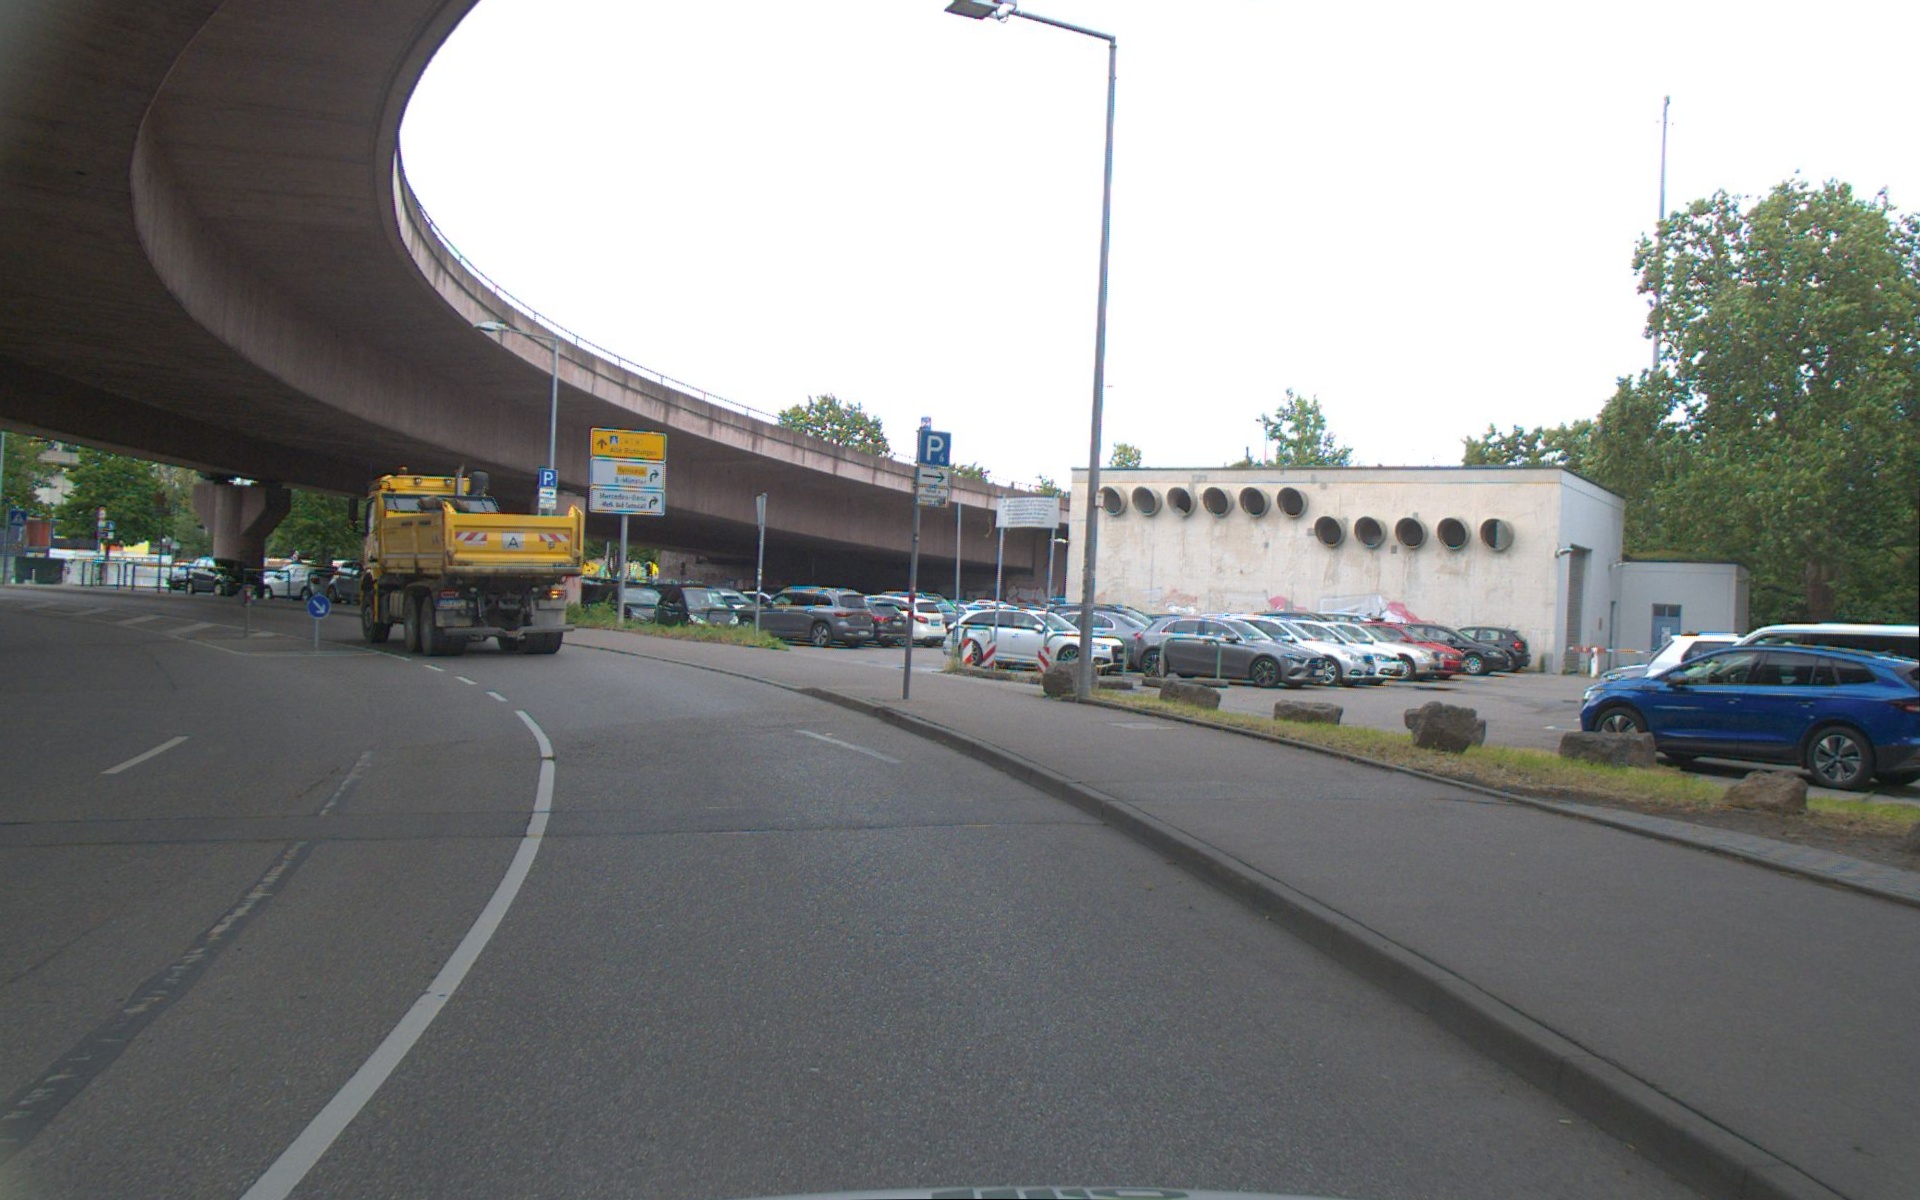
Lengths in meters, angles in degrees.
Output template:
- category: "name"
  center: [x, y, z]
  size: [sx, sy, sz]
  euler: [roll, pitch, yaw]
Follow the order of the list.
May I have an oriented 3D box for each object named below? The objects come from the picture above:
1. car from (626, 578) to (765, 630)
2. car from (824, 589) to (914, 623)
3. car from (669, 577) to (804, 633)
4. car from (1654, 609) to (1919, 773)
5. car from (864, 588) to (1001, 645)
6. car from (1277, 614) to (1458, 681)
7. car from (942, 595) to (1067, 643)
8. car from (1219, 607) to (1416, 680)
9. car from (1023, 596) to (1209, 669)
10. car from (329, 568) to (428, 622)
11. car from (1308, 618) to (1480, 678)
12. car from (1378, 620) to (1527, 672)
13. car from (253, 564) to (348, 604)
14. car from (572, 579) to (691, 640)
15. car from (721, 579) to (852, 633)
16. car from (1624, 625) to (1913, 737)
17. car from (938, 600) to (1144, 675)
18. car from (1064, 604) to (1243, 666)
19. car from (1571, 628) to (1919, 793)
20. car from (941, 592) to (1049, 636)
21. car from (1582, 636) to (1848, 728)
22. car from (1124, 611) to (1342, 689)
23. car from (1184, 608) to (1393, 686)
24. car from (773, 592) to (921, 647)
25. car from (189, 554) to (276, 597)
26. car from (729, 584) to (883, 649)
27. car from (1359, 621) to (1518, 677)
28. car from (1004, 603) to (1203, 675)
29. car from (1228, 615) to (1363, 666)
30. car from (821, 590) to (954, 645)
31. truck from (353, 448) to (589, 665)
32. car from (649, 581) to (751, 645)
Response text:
- category: "car"
  center: [-8.361, 0.112, 52.127]
  size: [4.103, 1.446, 1.834]
  euler: [3, 0, 32]
- category: "car"
  center: [-4.476, 0.295, 81.233]
  size: [4.103, 1.491, 1.834]
  euler: [3, 0, 32]
- category: "car"
  center: [-7.299, 0.153, 53.917]
  size: [4.103, 1.620, 1.834]
  euler: [3, 0, 32]
- category: "car"
  center: [12.218, 1.218, 22.684]
  size: [4.596, 1.991, 1.883]
  euler: [2, 1, 41]
- category: "car"
  center: [-0.944, 0.550, 55.658]
  size: [4.338, 1.720, 1.752]
  euler: [3, 0, 32]
- category: "car"
  center: [11.063, 1.270, 45.004]
  size: [4.410, 1.539, 1.833]
  euler: [3, 0, 35]
- category: "car"
  center: [1.577, 0.679, 59.513]
  size: [4.171, 1.535, 1.705]
  euler: [3, 0, 32]
- category: "car"
  center: [8.855, 1.063, 41.090]
  size: [4.410, 1.539, 1.833]
  euler: [3, 0, 35]
- category: "car"
  center: [4.108, 0.835, 43.824]
  size: [4.524, 1.656, 1.853]
  euler: [3, 0, 33]
- category: "car"
  center: [-19.096, -0.168, 54.301]
  size: [3.350, 1.560, 1.601]
  euler: [3, -2, 42]
- category: "car"
  center: [12.359, 1.350, 47.211]
  size: [4.352, 1.450, 1.833]
  euler: [3, 0, 35]
- category: "car"
  center: [16.248, 1.502, 54.678]
  size: [4.352, 1.450, 1.833]
  euler: [3, 0, 35]
- category: "car"
  center: [-28.393, -0.691, 71.162]
  size: [3.923, 1.579, 1.636]
  euler: [2, 0, 29]
- category: "car"
  center: [-9.129, 0.239, 45.736]
  size: [1.715, 1.505, 4.199]
  euler: [2, 0, -34]
- category: "car"
  center: [-5.865, 0.203, 55.842]
  size: [4.103, 1.620, 1.834]
  euler: [3, 0, 32]
- category: "car"
  center: [13.973, 1.343, 28.663]
  size: [4.271, 1.615, 1.770]
  euler: [2, 0, 34]
- category: "car"
  center: [1.885, 0.873, 39.336]
  size: [4.592, 1.501, 1.852]
  euler: [3, 0, 35]
- category: "car"
  center: [5.336, 0.947, 45.760]
  size: [4.524, 1.469, 1.853]
  euler: [3, 0, 33]
- category: "car"
  center: [10.218, 1.296, 20.621]
  size: [1.758, 1.663, 4.620]
  euler: [2, 1, -39]
- category: "car"
  center: [1.434, 0.572, 68.461]
  size: [4.103, 1.620, 1.834]
  euler: [3, 0, 32]
- category: "car"
  center: [14.156, 1.488, 31.112]
  size: [4.274, 1.408, 1.769]
  euler: [2, 0, 36]
- category: "car"
  center: [5.997, 1.068, 36.539]
  size: [4.352, 1.450, 1.833]
  euler: [3, 0, 35]
- category: "car"
  center: [7.660, 1.079, 38.713]
  size: [4.410, 1.539, 1.833]
  euler: [3, 0, 35]
- category: "car"
  center: [-3.518, 0.593, 51.391]
  size: [4.365, 1.474, 1.752]
  euler: [3, 0, 32]
- category: "car"
  center: [-27.121, -0.912, 61.624]
  size: [3.517, 1.421, 1.601]
  euler: [3, -2, 42]
- category: "car"
  center: [-4.595, 0.470, 49.141]
  size: [4.375, 1.704, 1.741]
  euler: [3, 0, 32]
- category: "car"
  center: [14.817, 1.488, 51.250]
  size: [4.352, 1.450, 1.833]
  euler: [3, 0, 35]
- category: "car"
  center: [3.557, 0.946, 41.321]
  size: [4.589, 1.501, 1.853]
  euler: [3, 0, 33]
- category: "car"
  center: [10.852, 1.296, 53.618]
  size: [3.893, 1.417, 1.764]
  euler: [3, 0, 33]
- category: "car"
  center: [-2.358, 0.560, 53.601]
  size: [4.001, 1.584, 1.752]
  euler: [3, 0, 32]
- category: "truck"
  center: [-9.903, -0.842, 32.848]
  size: [2.730, 3.763, 7.799]
  euler: [0, 1, -30]
- category: "car"
  center: [-6.631, 0.311, 42.023]
  size: [1.526, 1.505, 2.728]
  euler: [2, 0, -34]
